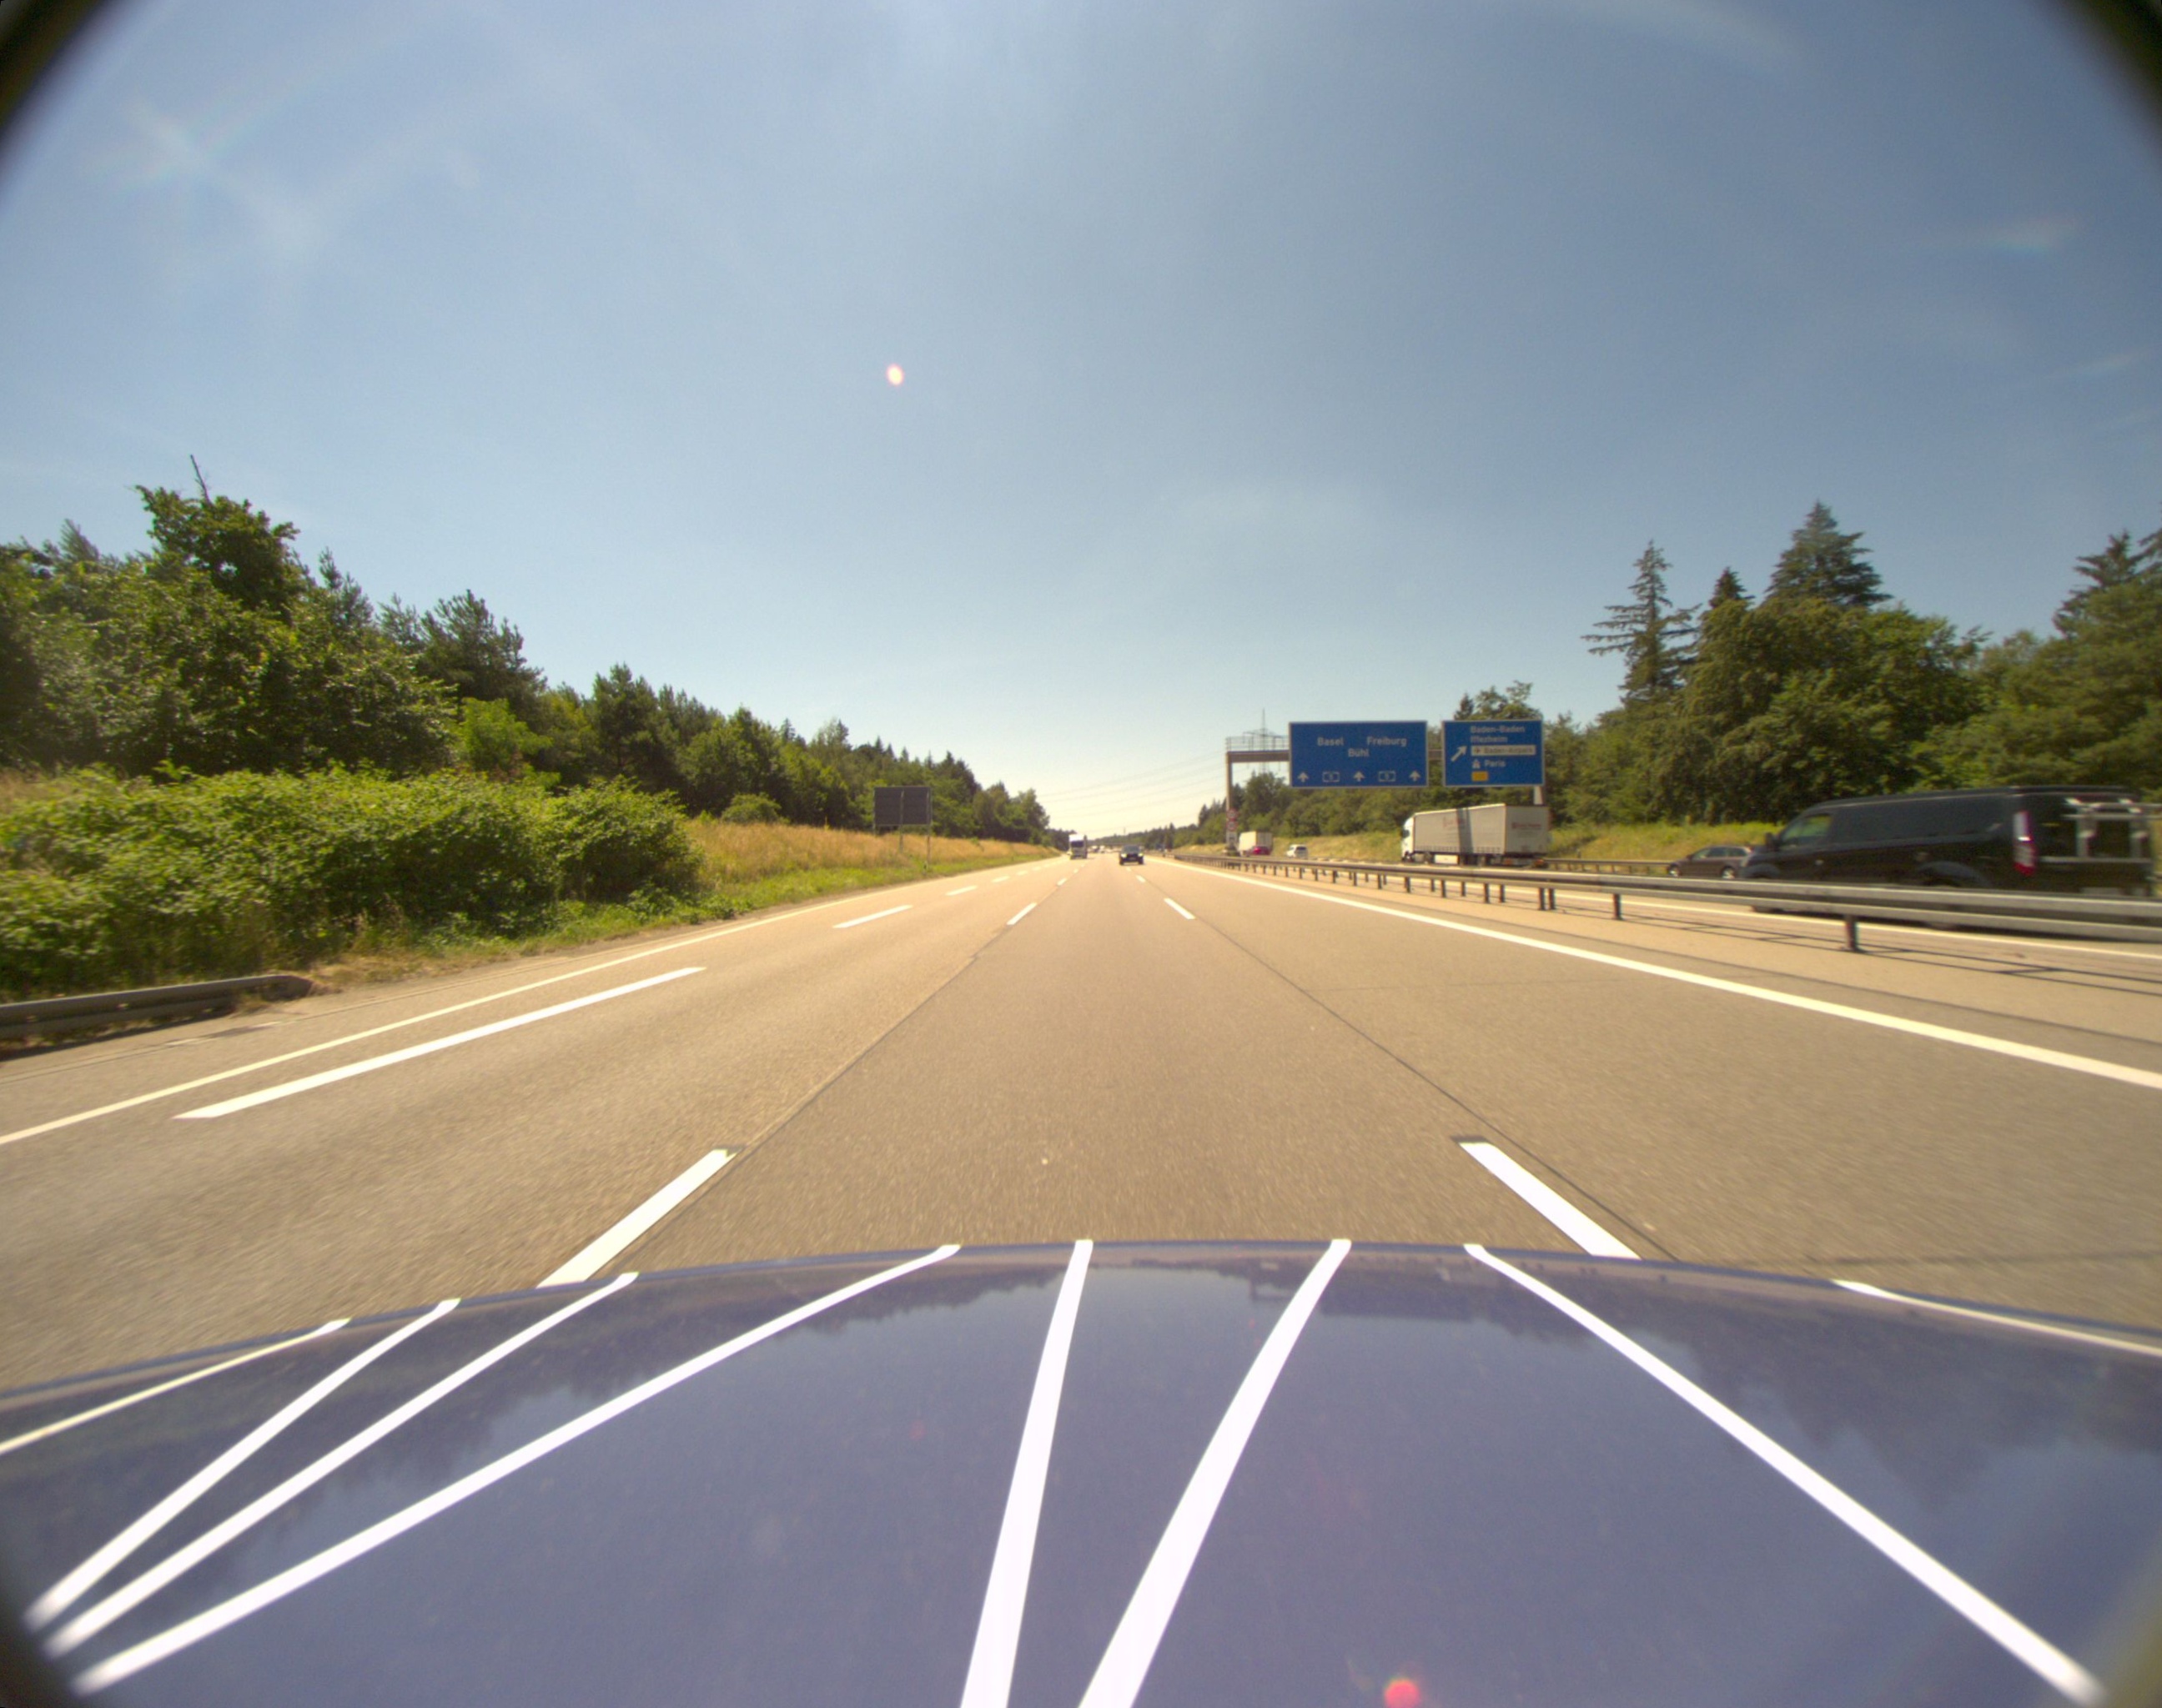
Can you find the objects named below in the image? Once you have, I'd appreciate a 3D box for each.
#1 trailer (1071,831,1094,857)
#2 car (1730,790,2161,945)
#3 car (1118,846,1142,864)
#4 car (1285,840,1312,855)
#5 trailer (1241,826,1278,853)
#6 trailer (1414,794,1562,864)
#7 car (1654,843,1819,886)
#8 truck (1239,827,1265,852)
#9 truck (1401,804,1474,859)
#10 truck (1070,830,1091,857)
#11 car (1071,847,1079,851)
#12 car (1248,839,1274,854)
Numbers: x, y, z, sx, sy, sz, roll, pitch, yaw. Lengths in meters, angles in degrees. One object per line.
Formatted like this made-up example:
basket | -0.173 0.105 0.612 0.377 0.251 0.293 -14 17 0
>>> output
trailer | 0.362 -1.685 129.573 2.981 4.118 11.698 -2 0 4
car | 13.413 0.132 11.956 2.285 1.929 4.942 -1 1 2
car | 4.297 0.039 66.499 1.898 1.417 4.262 -3 1 4
car | 27.286 -0.788 95.479 1.998 1.739 4.990 -2 1 1
trailer | 28.703 -2.355 122.995 3.221 4.019 14.361 -2 1 3
trailer | 26.677 -1.572 51.037 3.175 3.908 13.964 -2 1 4
car | 24.583 0.339 28.815 2.090 1.455 4.942 -1 1 2
truck | 29.108 -2.482 129.319 3.221 3.995 6.216 -2 1 3
truck | 27.102 -1.674 58.028 3.175 3.908 5.400 -2 1 4
truck | -0.002 -1.695 124.141 2.979 4.118 5.350 -2 0 4
car | -1.880 -1.560 238.663 1.898 1.417 4.262 -3 1 4
car | 20.360 -0.834 86.242 1.851 1.601 4.921 -2 1 2
